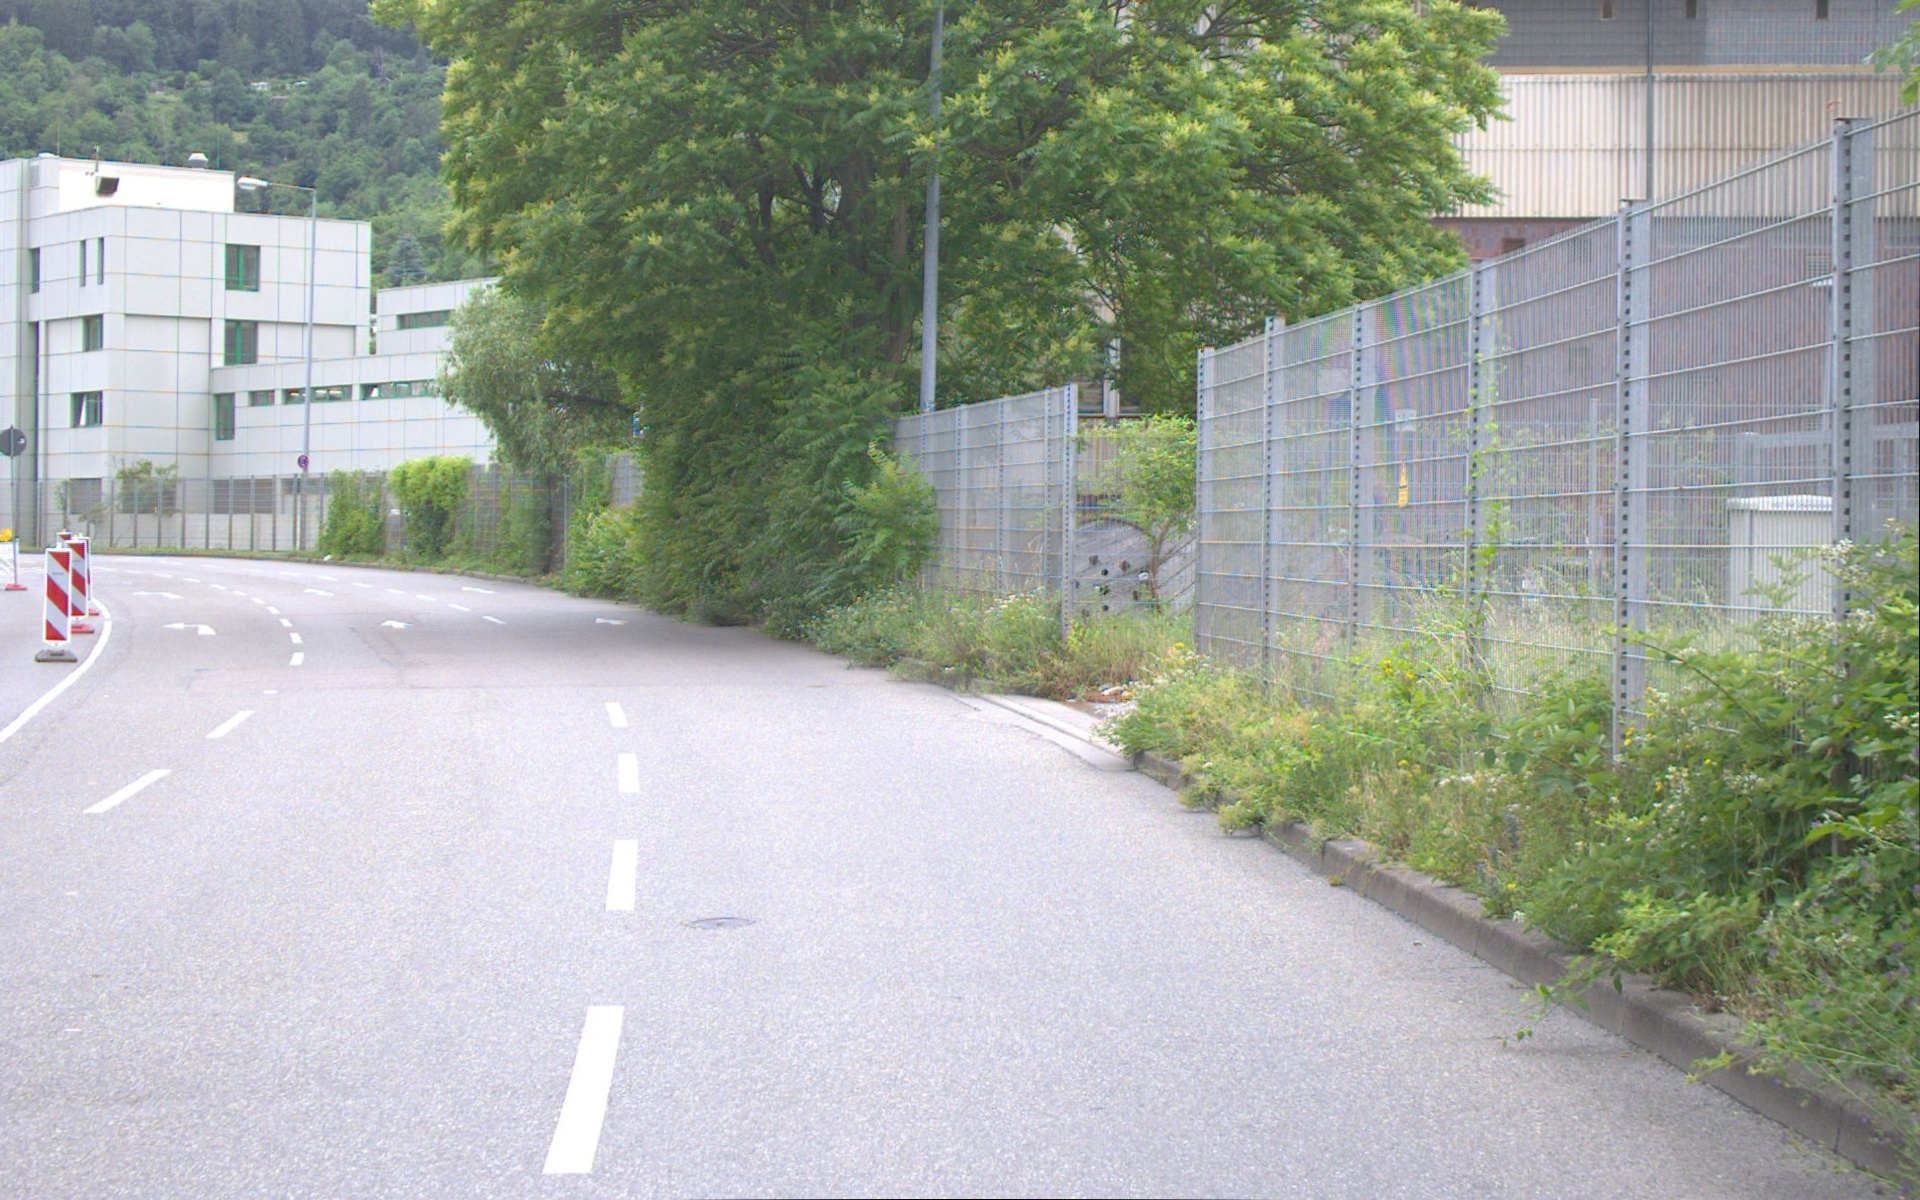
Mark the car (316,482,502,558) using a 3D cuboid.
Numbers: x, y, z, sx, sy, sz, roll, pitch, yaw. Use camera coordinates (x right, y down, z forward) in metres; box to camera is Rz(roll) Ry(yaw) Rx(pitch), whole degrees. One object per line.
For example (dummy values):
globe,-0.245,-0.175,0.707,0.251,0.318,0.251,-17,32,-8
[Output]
car,-17.795,-2.589,110.938,6.162,2.255,1.996,2,1,34
